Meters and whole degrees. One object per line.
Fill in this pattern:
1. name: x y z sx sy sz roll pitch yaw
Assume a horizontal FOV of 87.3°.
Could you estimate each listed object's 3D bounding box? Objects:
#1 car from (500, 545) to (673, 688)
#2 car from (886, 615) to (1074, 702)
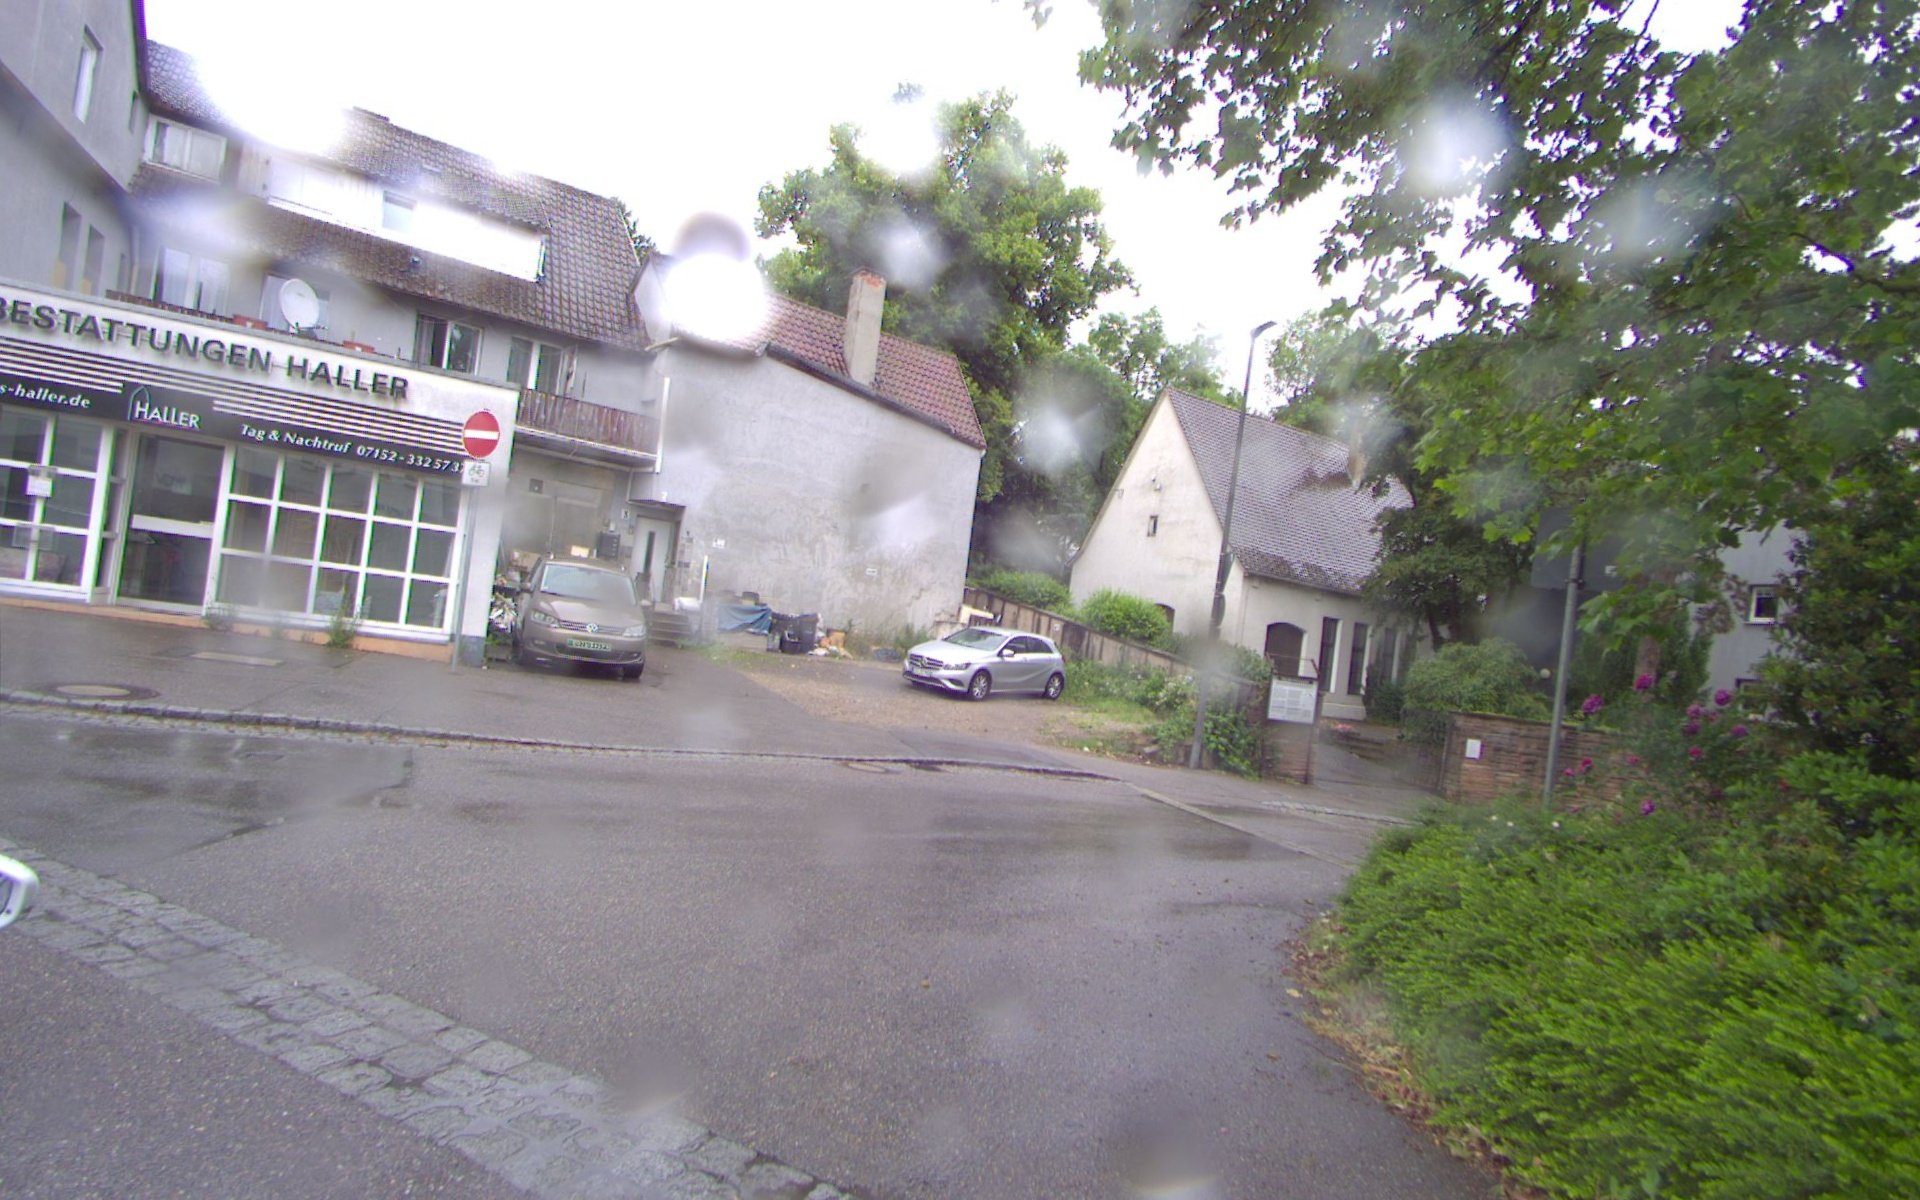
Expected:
1. car: -6.288 0.160 16.549 1.908 1.749 4.634 8 0 -28
2. car: 0.506 1.288 21.379 1.717 1.406 4.022 10 2 40
